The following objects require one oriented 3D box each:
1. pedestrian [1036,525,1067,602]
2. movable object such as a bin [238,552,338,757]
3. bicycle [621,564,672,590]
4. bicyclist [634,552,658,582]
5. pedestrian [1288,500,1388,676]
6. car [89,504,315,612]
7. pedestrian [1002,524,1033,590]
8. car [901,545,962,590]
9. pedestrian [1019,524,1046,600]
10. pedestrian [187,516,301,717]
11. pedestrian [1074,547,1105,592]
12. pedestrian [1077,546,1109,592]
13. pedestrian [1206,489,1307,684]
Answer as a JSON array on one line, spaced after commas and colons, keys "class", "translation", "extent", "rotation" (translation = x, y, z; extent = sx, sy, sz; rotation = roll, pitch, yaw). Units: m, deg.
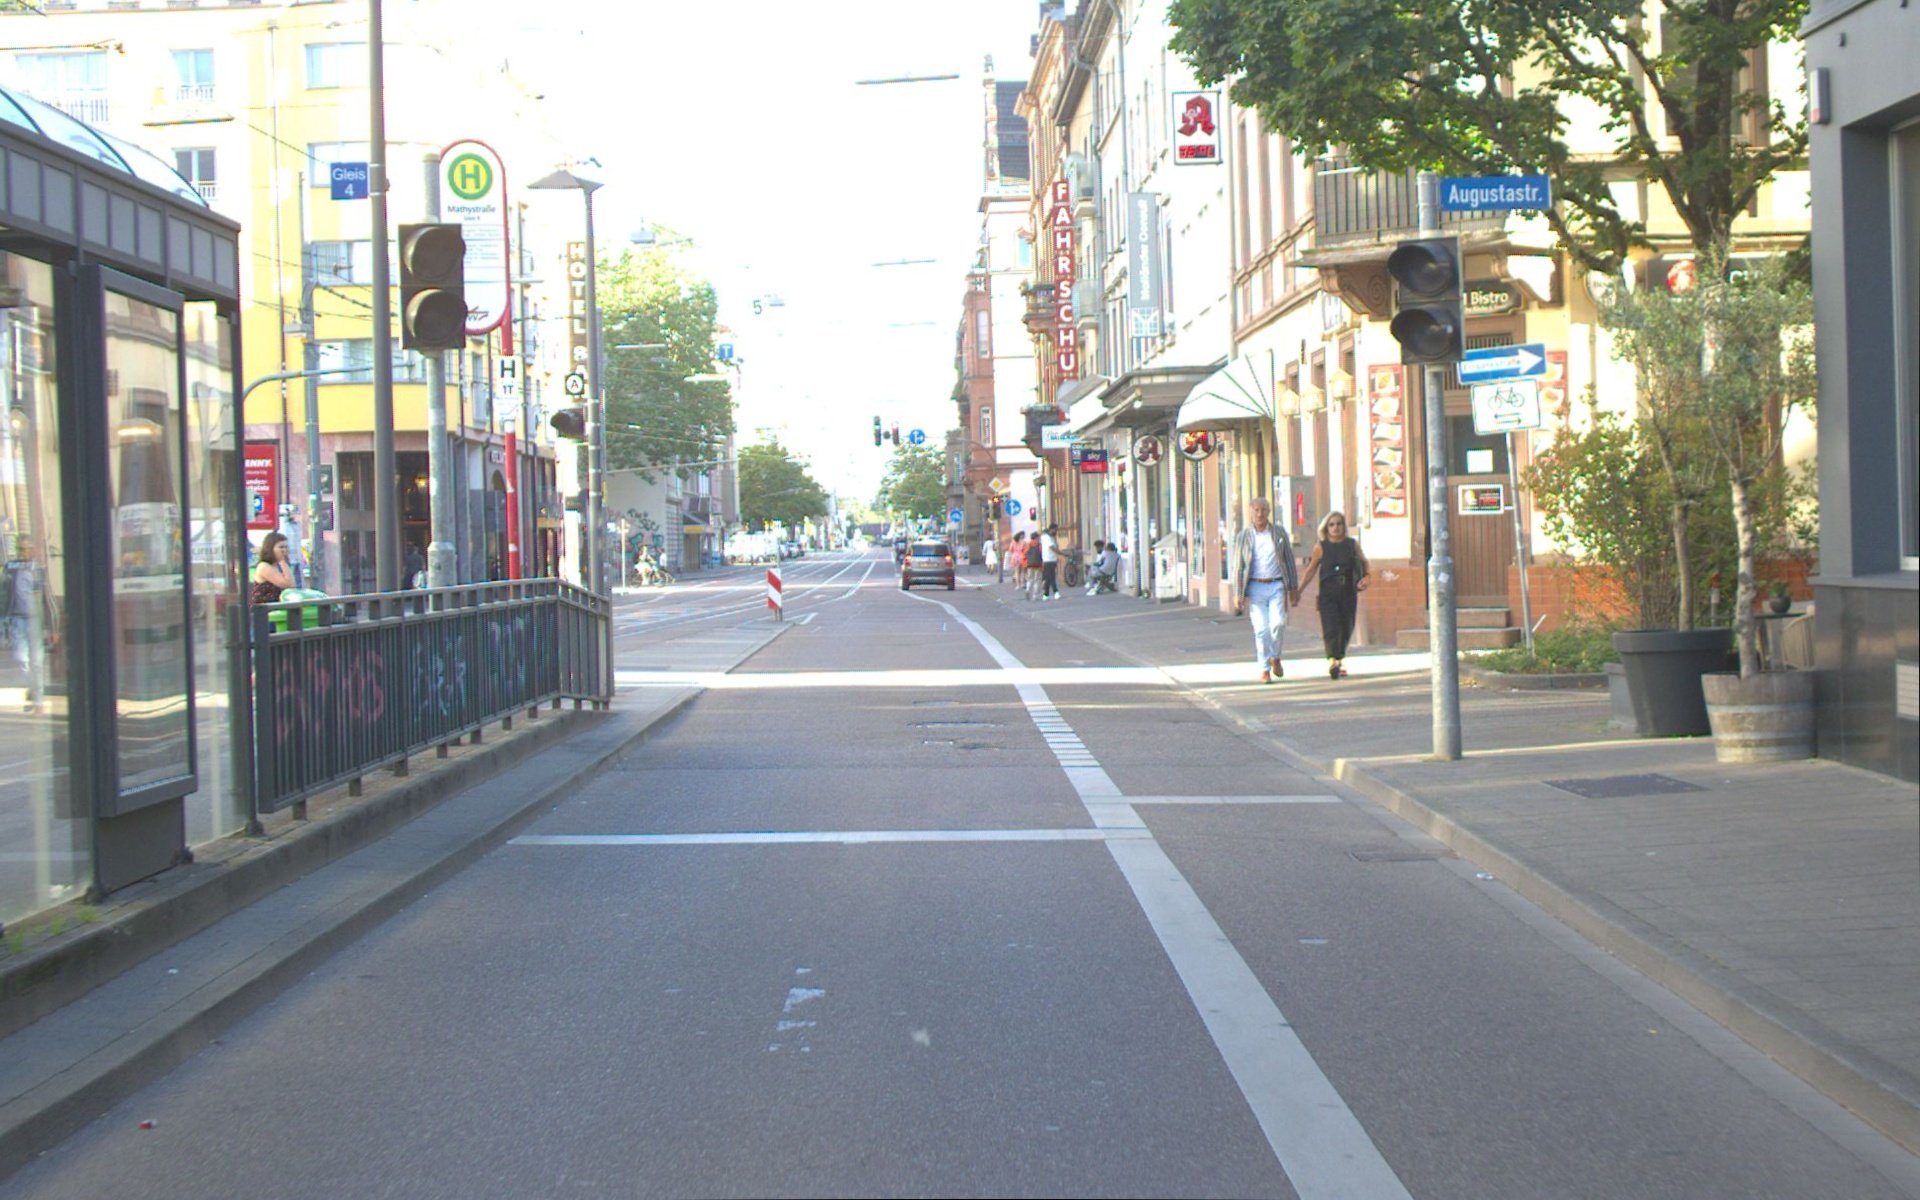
[{"class": "pedestrian", "translation": [2.163, -0.864, 81.190], "extent": [0.648, 1.790, 0.561], "rotation": [-2, 1, 3]}, {"class": "movable object such as a bin", "translation": [-3.185, 0.252, 16.323], "extent": [0.352, 0.941, 0.530], "rotation": [-2, 1, -2]}, {"class": "bicycle", "translation": [-13.153, -0.962, 144.286], "extent": [1.935, 1.000, 0.753], "rotation": [-2, 1, 17]}, {"class": "bicyclist", "translation": [-13.165, -1.372, 144.279], "extent": [0.710, 1.216, 0.753], "rotation": [-2, 1, 17]}, {"class": "pedestrian", "translation": [3.589, -0.122, 32.674], "extent": [0.713, 1.597, 0.773], "rotation": [-5, 2, -4]}, {"class": "car", "translation": [-18.843, -1.049, 85.616], "extent": [5.105, 2.567, 2.128], "rotation": [-1, 1, 0]}, {"class": "pedestrian", "translation": [1.704, -1.273, 101.914], "extent": [0.843, 1.911, 0.662], "rotation": [-2, 1, -2]}, {"class": "car", "translation": [-0.985, -1.110, 116.205], "extent": [1.993, 1.444, 4.000], "rotation": [-1, 1, -1]}, {"class": "pedestrian", "translation": [1.737, -0.903, 82.177], "extent": [0.560, 1.790, 0.650], "rotation": [-2, 1, 6]}, {"class": "pedestrian", "translation": [-6.220, 0.131, 29.897], "extent": [0.869, 1.708, 0.788], "rotation": [0, 2, -3]}, {"class": "pedestrian", "translation": [3.059, -0.730, 81.355], "extent": [0.690, 1.040, 0.680], "rotation": [-2, 1, 3]}, {"class": "pedestrian", "translation": [3.120, -0.730, 80.587], "extent": [0.690, 1.040, 0.680], "rotation": [-2, 1, 3]}, {"class": "pedestrian", "translation": [2.806, -0.137, 32.594], "extent": [0.713, 1.768, 0.773], "rotation": [-5, 2, -4]}]
